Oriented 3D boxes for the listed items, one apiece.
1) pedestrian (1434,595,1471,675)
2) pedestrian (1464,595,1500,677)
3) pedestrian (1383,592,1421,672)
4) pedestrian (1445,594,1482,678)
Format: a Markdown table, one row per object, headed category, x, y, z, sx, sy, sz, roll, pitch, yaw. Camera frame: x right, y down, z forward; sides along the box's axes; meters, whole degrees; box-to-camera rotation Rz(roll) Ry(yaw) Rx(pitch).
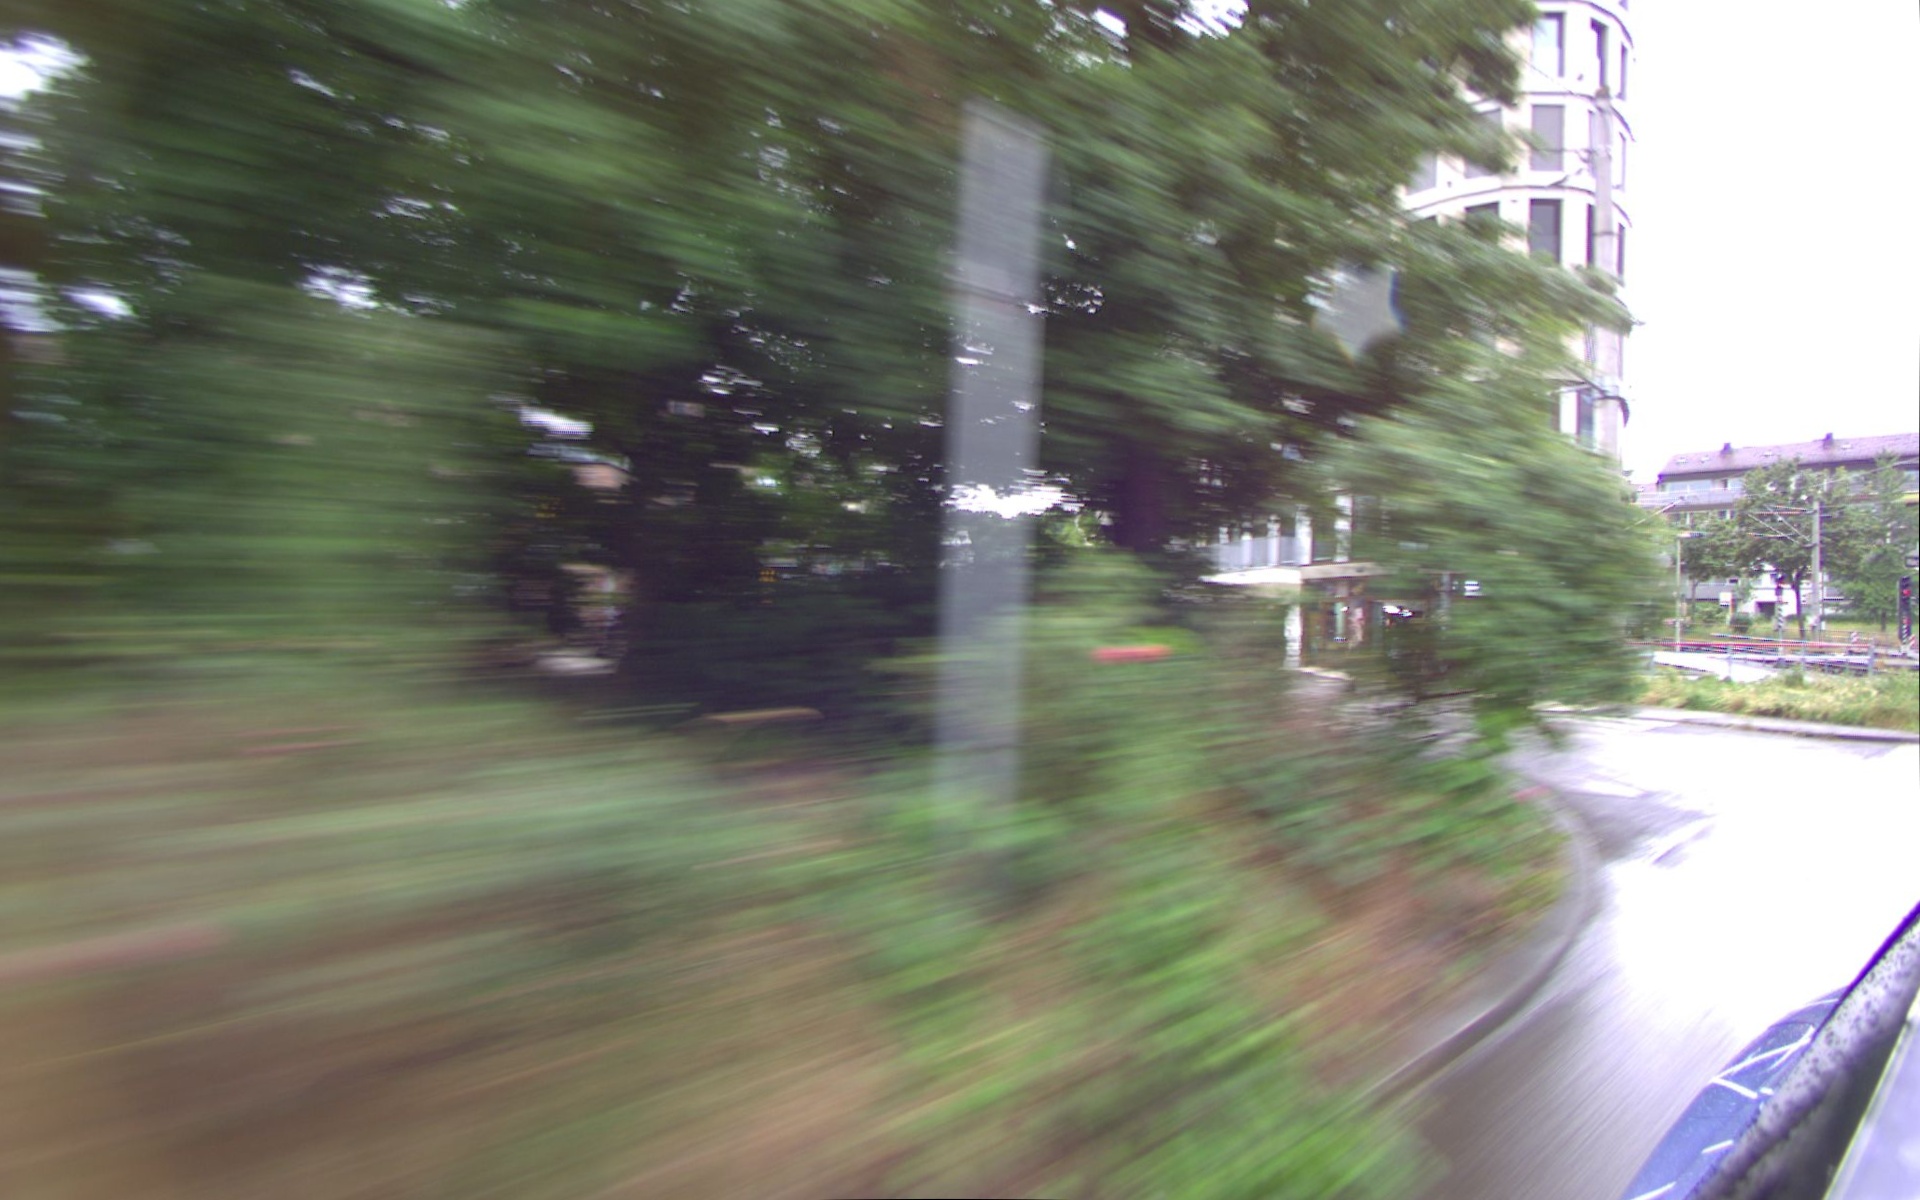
| category | x | y | z | sx | sy | sz | roll | pitch | yaw |
| --- | --- | --- | --- | --- | --- | --- | --- | --- | --- |
| pedestrian | 12.895 | 0.895 | 26.496 | 0.591 | 2.039 | 0.877 | 2 | 0 | 43 |
| pedestrian | 13.416 | 0.902 | 25.988 | 0.653 | 2.039 | 0.880 | 2 | 0 | 35 |
| pedestrian | 11.625 | 0.822 | 26.601 | 0.591 | 2.039 | 0.877 | 2 | 1 | 43 |
| pedestrian | 12.627 | 0.882 | 25.382 | 0.680 | 2.039 | 0.776 | 2 | 0 | 35 |
